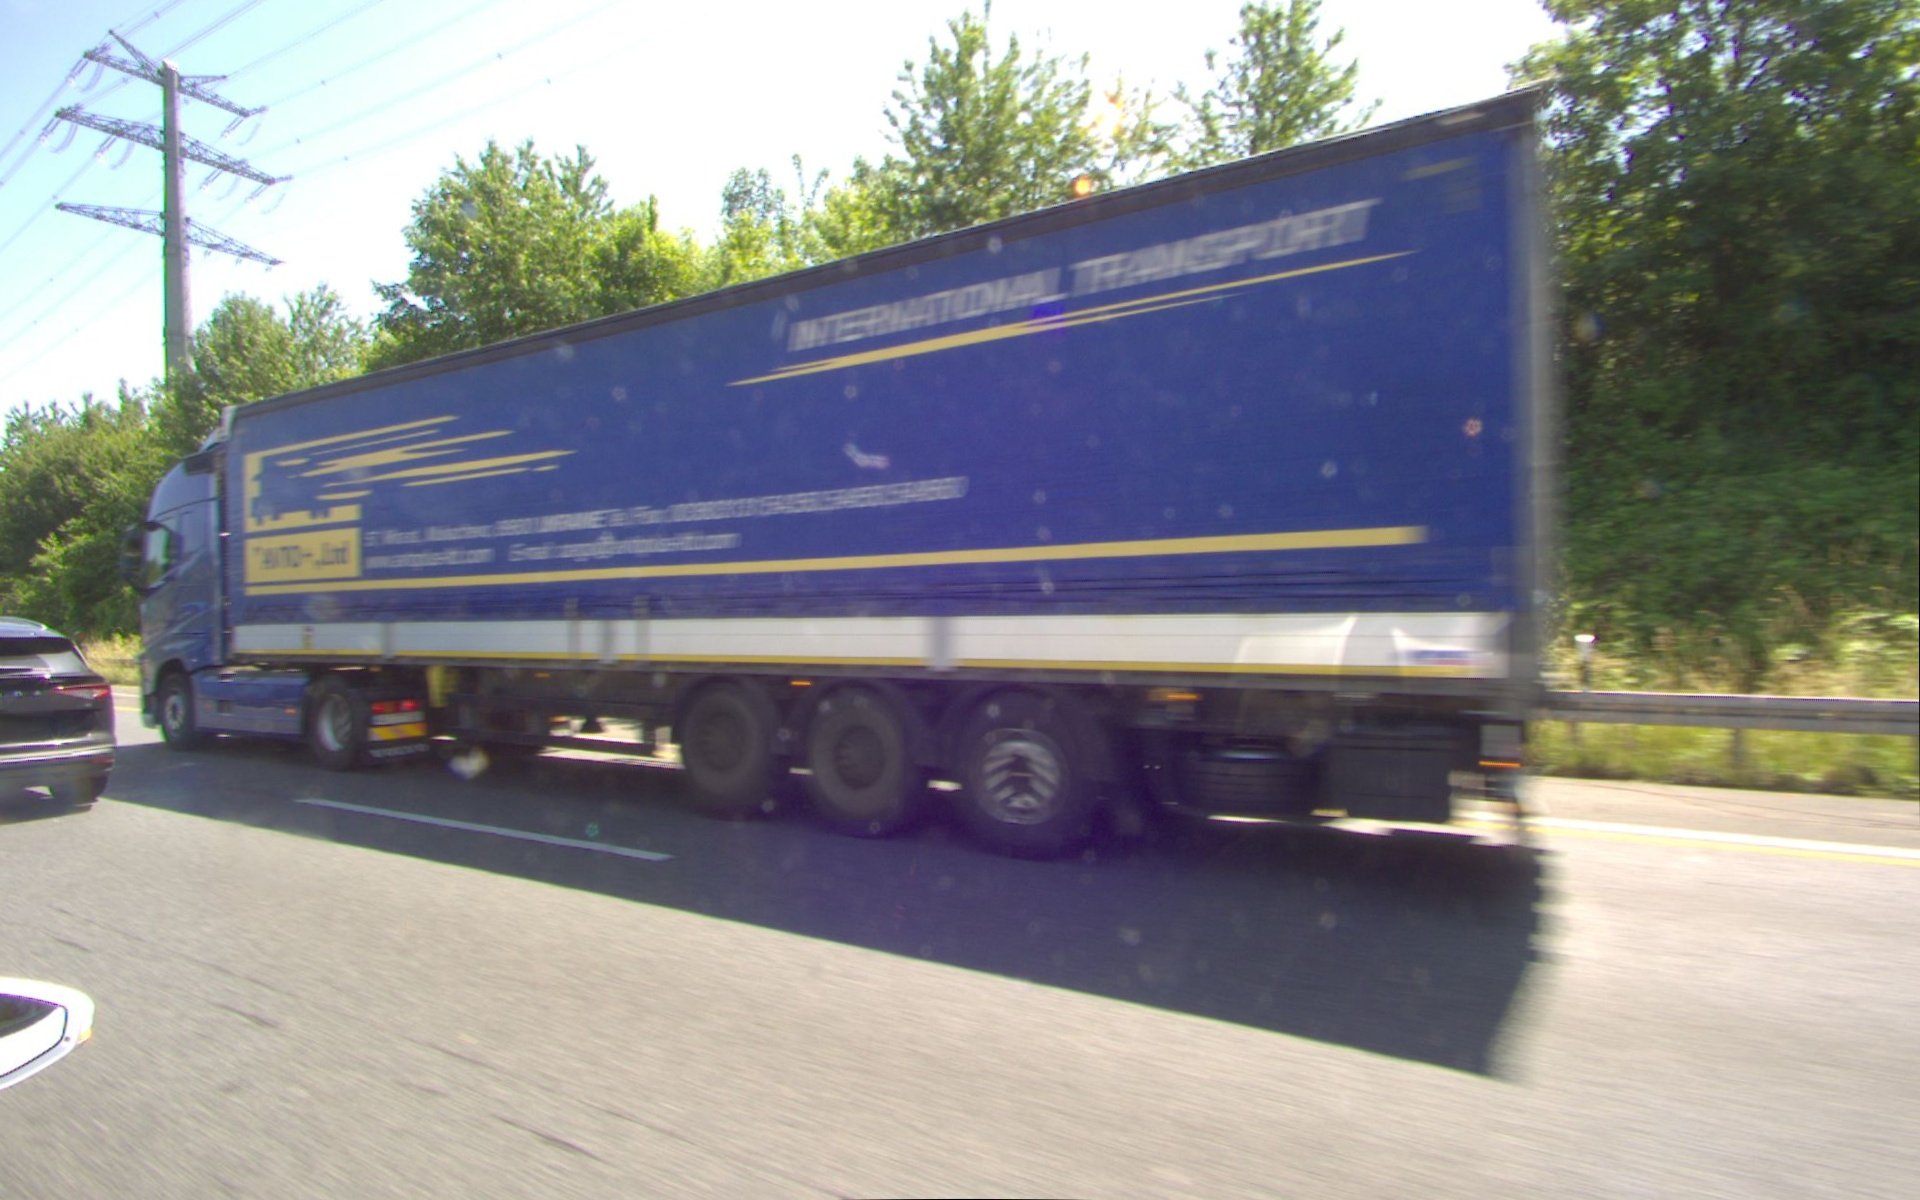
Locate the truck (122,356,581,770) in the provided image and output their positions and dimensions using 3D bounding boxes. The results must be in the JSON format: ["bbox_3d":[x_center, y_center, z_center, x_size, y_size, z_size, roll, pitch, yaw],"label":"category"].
[{"bbox_3d":[-7.835,-0.287,12.805,5.555,4.197,2.781,-1,-2,32],"label":"truck"}]

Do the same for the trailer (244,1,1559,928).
[{"bbox_3d":[-1.942,-0.482,9.162,12.691,4.318,2.763,-1,-2,32],"label":"trailer"}]

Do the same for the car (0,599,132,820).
[{"bbox_3d":[-9.193,0.873,8.696,4.364,1.676,1.699,-1,-2,30],"label":"car"}]
